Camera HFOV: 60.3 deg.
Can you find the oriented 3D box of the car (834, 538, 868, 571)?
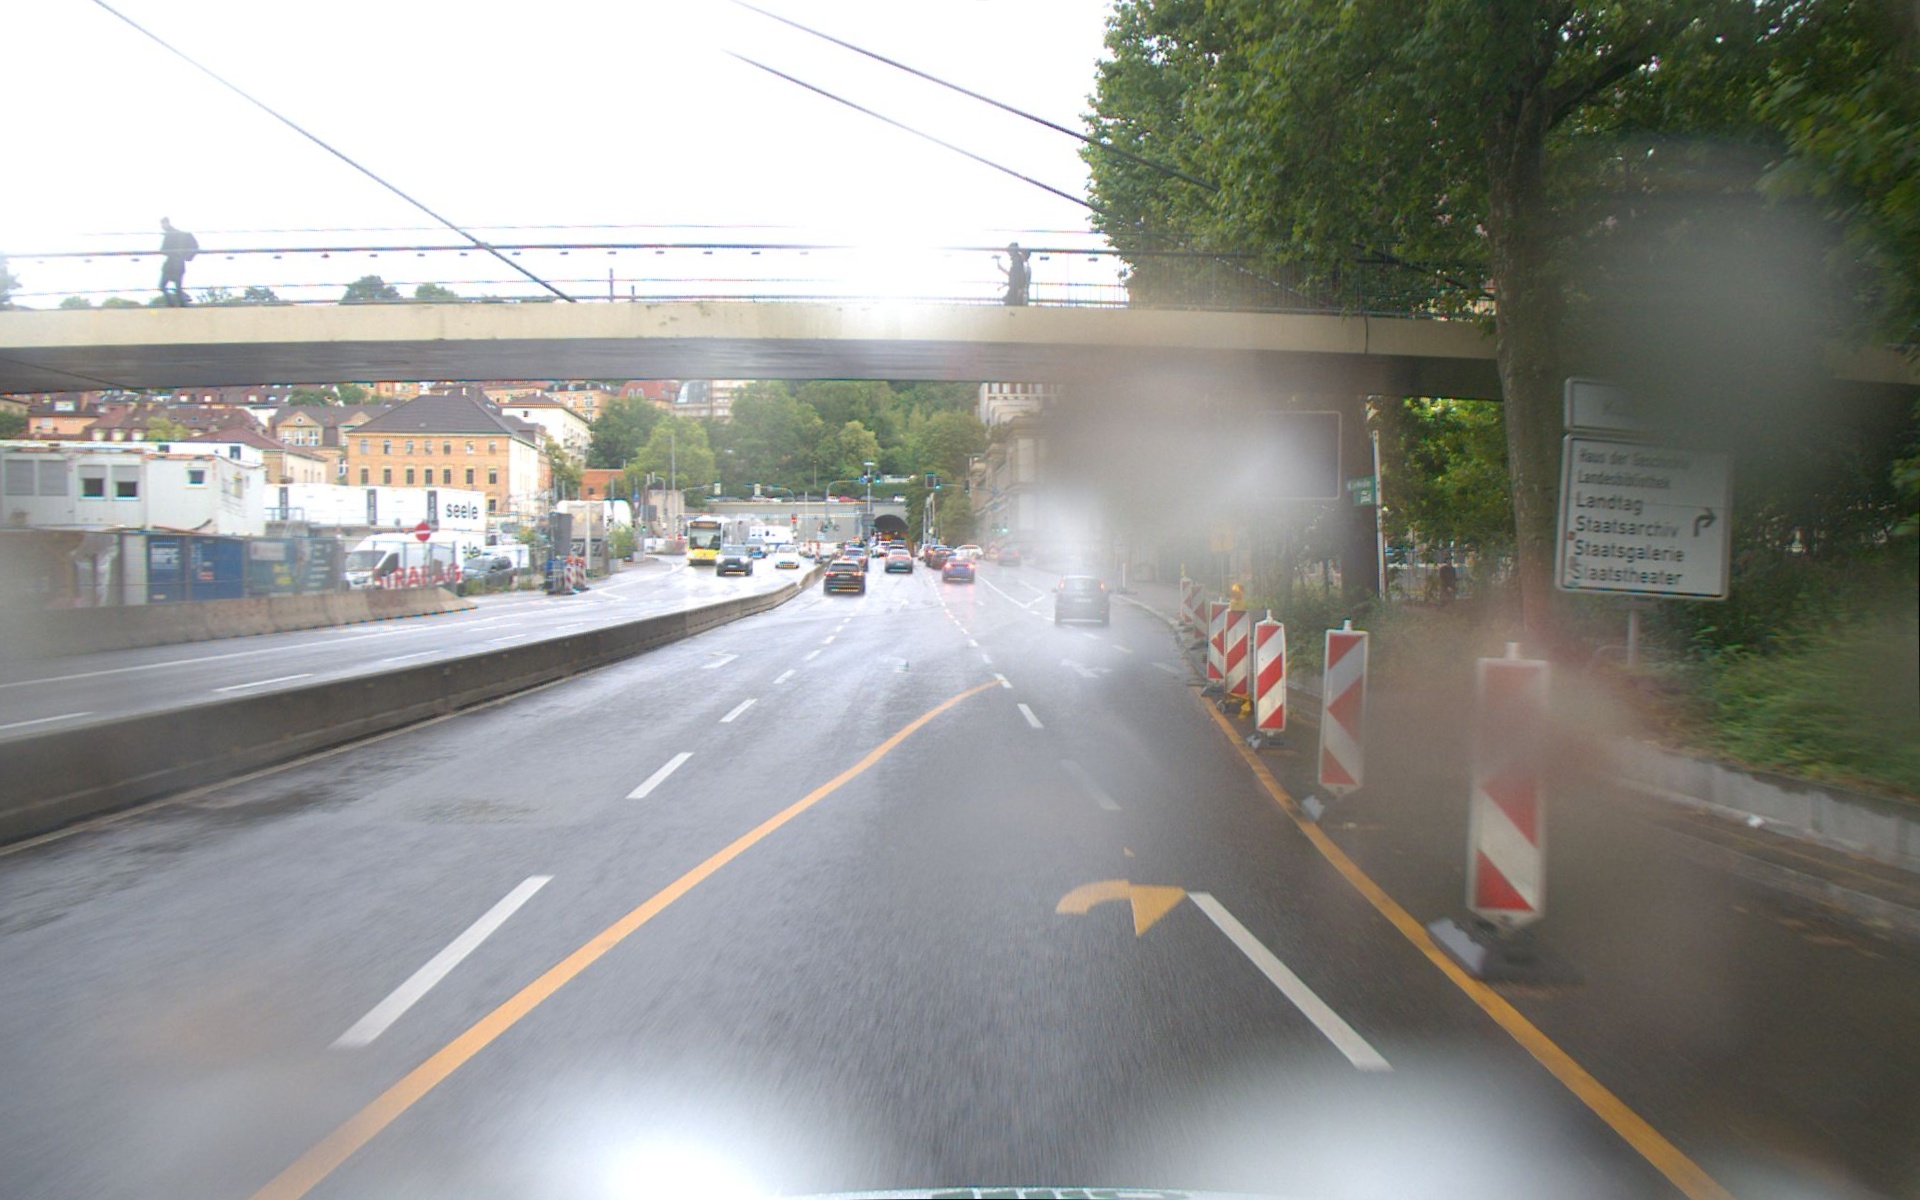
[{"bbox_3d":[-7.253,-3.032,110.279,1.953,2.049,3.999,-1,0,-1],"label":"car"}]

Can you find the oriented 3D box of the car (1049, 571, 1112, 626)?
[{"bbox_3d":[3.619,-0.059,49.733,1.774,1.553,4.002,-1,0,4],"label":"car"}]

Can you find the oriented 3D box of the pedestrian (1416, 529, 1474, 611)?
[{"bbox_3d":[12.380,-0.772,42.208,1.041,2.048,1.025,-1,2,-37],"label":"pedestrian"}]

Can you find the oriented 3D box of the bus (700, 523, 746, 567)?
[{"bbox_3d":[-18.085,-4.147,126.528,2.649,3.206,9.145,-1,1,-3],"label":"bus"}]

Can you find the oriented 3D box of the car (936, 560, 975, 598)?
[{"bbox_3d":[-0.281,-1.194,95.598,2.063,2.086,3.998,-1,0,-3],"label":"car"}]

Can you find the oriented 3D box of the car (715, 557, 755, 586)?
[{"bbox_3d":[-13.378,-1.741,98.556,2.040,1.659,4.849,-1,2,-4],"label":"car"}]

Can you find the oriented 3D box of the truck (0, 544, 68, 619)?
[{"bbox_3d":[-28.198,-0.475,46.339,5.148,2.049,2.160,-1,1,-7],"label":"truck"}]

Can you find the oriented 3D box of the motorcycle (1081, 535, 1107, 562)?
[{"bbox_3d":[10.441,-4.045,128.840,1.758,2.048,3.814,0,2,1],"label":"motorcycle"}]

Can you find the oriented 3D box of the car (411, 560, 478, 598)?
[{"bbox_3d":[-23.256,-0.954,74.794,1.726,1.592,4.176,0,2,0],"label":"car"}]

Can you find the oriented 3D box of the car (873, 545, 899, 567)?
[{"bbox_3d":[-7.143,-4.233,159.463,2.248,2.049,4.599,-1,0,-5],"label":"car"}]

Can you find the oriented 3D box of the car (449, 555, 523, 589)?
[{"bbox_3d":[-22.847,-1.326,79.889,1.724,1.593,4.686,-1,0,6],"label":"car"}]

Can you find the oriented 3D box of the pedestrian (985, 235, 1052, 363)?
[{"bbox_3d":[1.063,-5.420,29.893,1.123,2.096,1.060,-1,0,5],"label":"pedestrian"}]

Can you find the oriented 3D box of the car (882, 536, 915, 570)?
[{"bbox_3d":[-4.095,-3.092,109.365,2.011,2.049,3.997,-1,0,-4],"label":"car"}]

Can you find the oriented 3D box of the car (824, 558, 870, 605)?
[{"bbox_3d":[-5.147,-0.813,75.770,1.976,2.049,3.998,-1,0,-3],"label":"car"}]

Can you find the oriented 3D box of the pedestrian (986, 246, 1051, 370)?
[{"bbox_3d":[1.109,-5.438,30.931,1.123,2.096,1.060,-1,0,5],"label":"pedestrian"}]

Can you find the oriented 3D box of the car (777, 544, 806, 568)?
[{"bbox_3d":[-11.445,-2.985,112.293,1.674,1.515,3.449,-1,0,-2],"label":"car"}]

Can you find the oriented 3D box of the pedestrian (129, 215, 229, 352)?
[{"bbox_3d":[-13.241,-5.343,28.064,1.123,2.096,1.060,-1,0,5],"label":"pedestrian"}]

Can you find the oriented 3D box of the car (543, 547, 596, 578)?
[{"bbox_3d":[-22.043,-2.120,93.470,1.952,1.650,4.002,0,3,1],"label":"car"}]

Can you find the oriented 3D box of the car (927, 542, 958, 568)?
[{"bbox_3d":[-1.305,-3.241,120.244,1.955,1.728,3.996,-1,0,-5],"label":"car"}]

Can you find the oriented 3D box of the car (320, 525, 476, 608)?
[{"bbox_3d":[-20.982,-1.218,62.084,1.953,2.925,6.050,-1,0,24],"label":"car"}]

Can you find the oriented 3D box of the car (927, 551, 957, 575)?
[{"bbox_3d":[-1.402,-2.815,126.565,1.955,1.728,3.996,-1,0,-5],"label":"car"}]

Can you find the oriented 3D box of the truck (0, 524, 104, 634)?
[{"bbox_3d":[-23.822,-0.438,38.664,6.163,2.495,2.687,-1,0,-10],"label":"truck"}]

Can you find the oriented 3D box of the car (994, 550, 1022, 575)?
[{"bbox_3d":[3.977,-3.098,137.016,1.954,2.048,3.998,0,1,-4],"label":"car"}]

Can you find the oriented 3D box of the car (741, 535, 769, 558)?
[{"bbox_3d":[-16.320,-4.255,131.860,1.999,1.691,4.928,-1,0,-5],"label":"car"}]

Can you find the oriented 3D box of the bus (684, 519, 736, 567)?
[{"bbox_3d":[-17.683,-4.010,117.508,2.750,3.240,8.803,-1,1,-3],"label":"bus"}]

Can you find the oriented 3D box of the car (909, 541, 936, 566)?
[{"bbox_3d":[-3.293,-4.070,144.557,1.955,2.049,3.995,-1,1,-6],"label":"car"}]
